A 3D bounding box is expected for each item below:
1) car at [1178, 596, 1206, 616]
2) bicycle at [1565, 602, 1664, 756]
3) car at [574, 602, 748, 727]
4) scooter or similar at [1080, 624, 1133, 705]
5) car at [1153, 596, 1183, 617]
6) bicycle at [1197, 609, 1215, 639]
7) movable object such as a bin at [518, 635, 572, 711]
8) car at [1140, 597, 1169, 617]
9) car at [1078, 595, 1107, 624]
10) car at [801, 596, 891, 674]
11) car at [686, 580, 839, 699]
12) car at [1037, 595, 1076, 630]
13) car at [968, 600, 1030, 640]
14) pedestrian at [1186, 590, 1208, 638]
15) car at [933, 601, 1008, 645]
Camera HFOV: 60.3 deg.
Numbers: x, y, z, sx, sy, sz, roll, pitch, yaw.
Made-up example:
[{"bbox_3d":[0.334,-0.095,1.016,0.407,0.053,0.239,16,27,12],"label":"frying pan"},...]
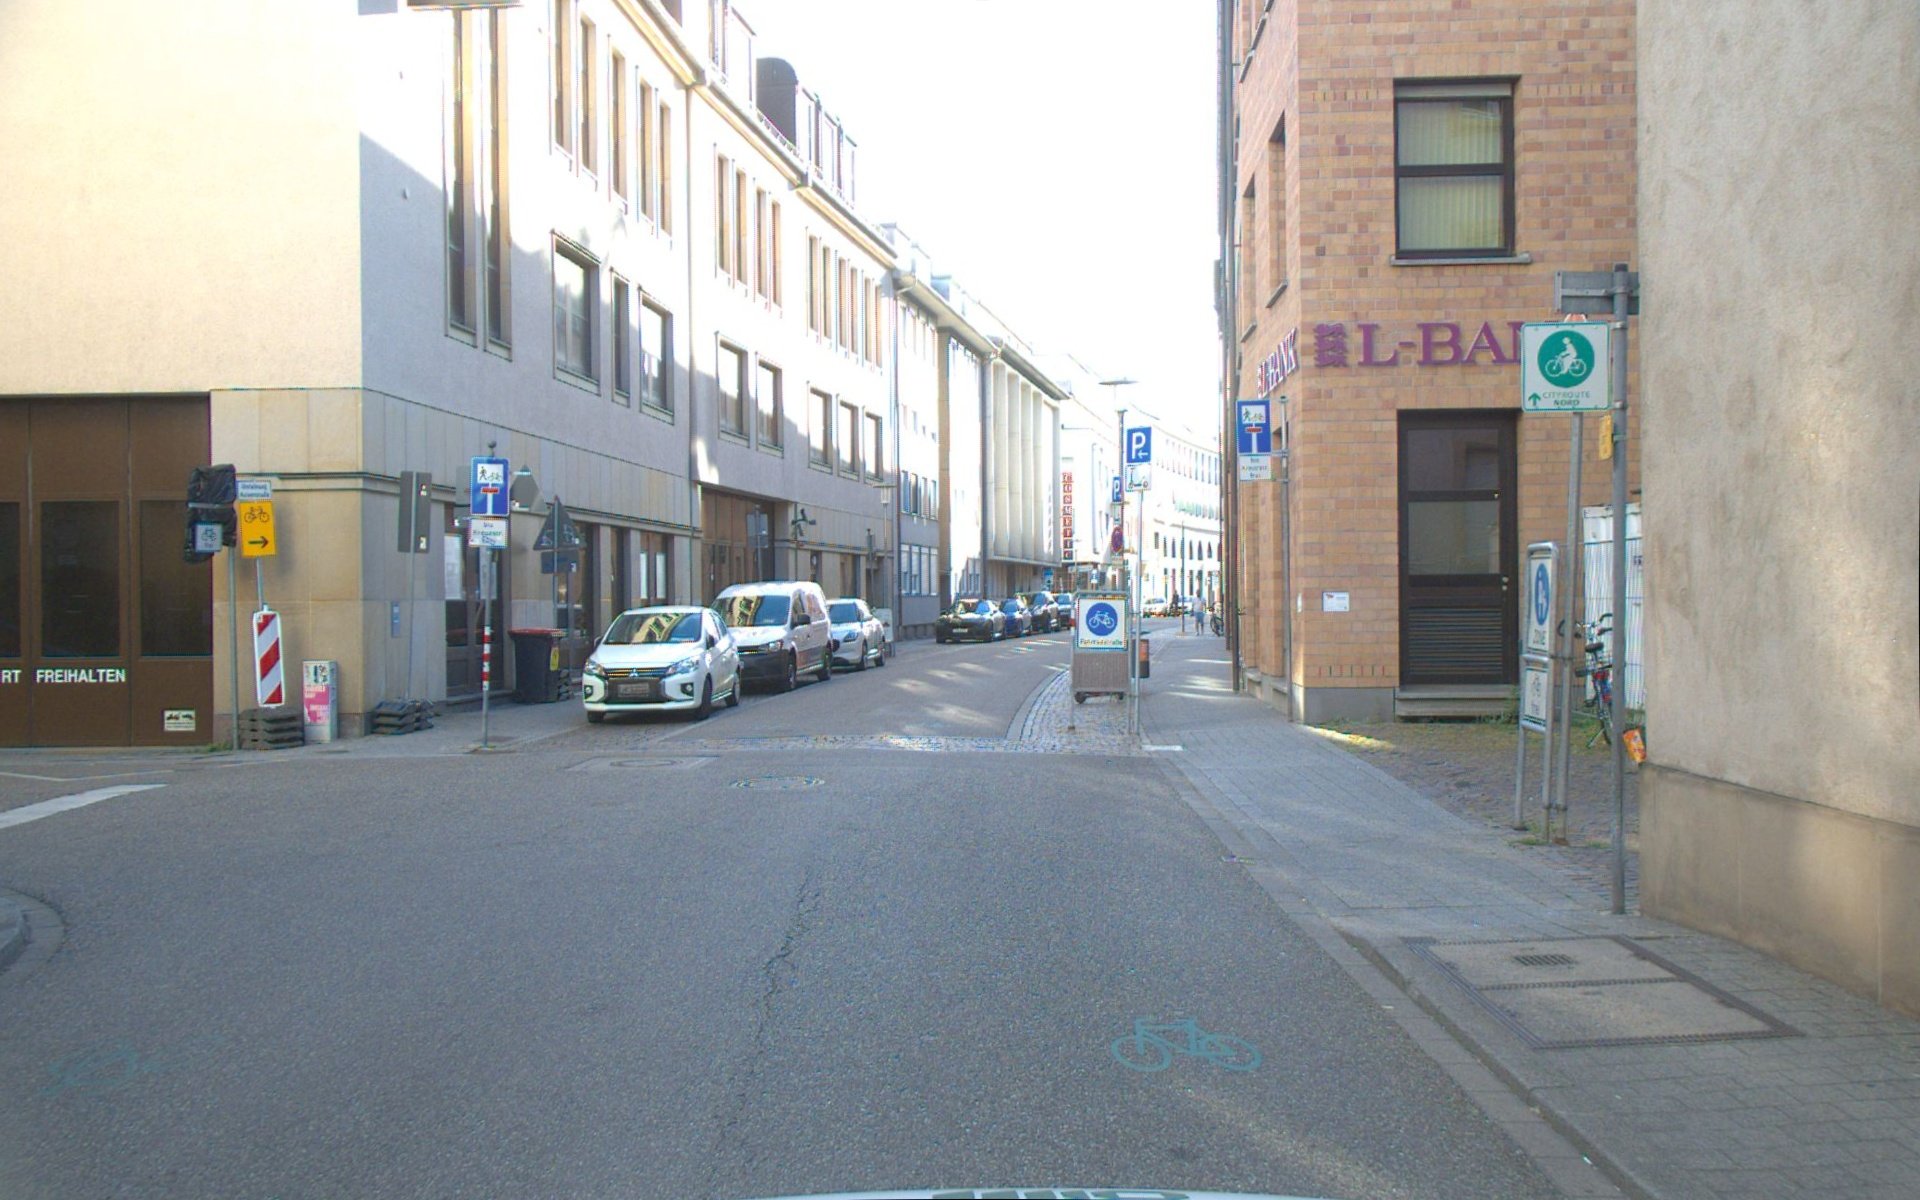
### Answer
[{"bbox_3d":[16.557,0.424,117.838,1.653,1.394,3.621,-1,0,12],"label":"car"},{"bbox_3d":[6.083,0.702,15.433,0.538,1.340,1.648,-1,0,11],"label":"bicycle"},{"bbox_3d":[-4.072,0.833,23.098,1.636,1.533,3.794,-2,0,1],"label":"car"},{"bbox_3d":[2.162,0.949,24.435,0.754,1.156,0.269,2,-1,3],"label":"scooter or similar"},{"bbox_3d":[14.016,0.427,111.406,1.653,1.394,3.621,-1,0,12],"label":"car"},{"bbox_3d":[8.441,0.811,56.813,0.500,1.011,2.650,0,0,7],"label":"bicycle"},{"bbox_3d":[-6.077,1.063,24.255,0.596,1.079,0.713,2,-1,-3],"label":"movable object such as a bin"},{"bbox_3d":[13.779,0.476,117.124,1.653,1.394,3.621,-1,0,12],"label":"car"},{"bbox_3d":[7.421,0.517,92.423,1.310,1.520,3.350,-1,0,10],"label":"car"},{"bbox_3d":[-2.376,0.702,35.143,1.244,1.533,3.404,-2,0,7],"label":"car"},{"bbox_3d":[-3.362,0.631,28.961,1.635,1.850,4.555,-2,0,6],"label":"car"},{"bbox_3d":[4.400,0.535,75.111,1.310,1.520,3.513,-1,0,10],"label":"car"},{"bbox_3d":[1.491,0.723,61.431,1.687,1.364,4.004,-1,0,10],"label":"car"},{"bbox_3d":[8.966,0.535,62.650,0.651,1.761,0.840,2,-1,0],"label":"pedestrian"},{"bbox_3d":[0.385,0.747,55.684,1.841,1.355,4.104,-1,0,10],"label":"car"}]
